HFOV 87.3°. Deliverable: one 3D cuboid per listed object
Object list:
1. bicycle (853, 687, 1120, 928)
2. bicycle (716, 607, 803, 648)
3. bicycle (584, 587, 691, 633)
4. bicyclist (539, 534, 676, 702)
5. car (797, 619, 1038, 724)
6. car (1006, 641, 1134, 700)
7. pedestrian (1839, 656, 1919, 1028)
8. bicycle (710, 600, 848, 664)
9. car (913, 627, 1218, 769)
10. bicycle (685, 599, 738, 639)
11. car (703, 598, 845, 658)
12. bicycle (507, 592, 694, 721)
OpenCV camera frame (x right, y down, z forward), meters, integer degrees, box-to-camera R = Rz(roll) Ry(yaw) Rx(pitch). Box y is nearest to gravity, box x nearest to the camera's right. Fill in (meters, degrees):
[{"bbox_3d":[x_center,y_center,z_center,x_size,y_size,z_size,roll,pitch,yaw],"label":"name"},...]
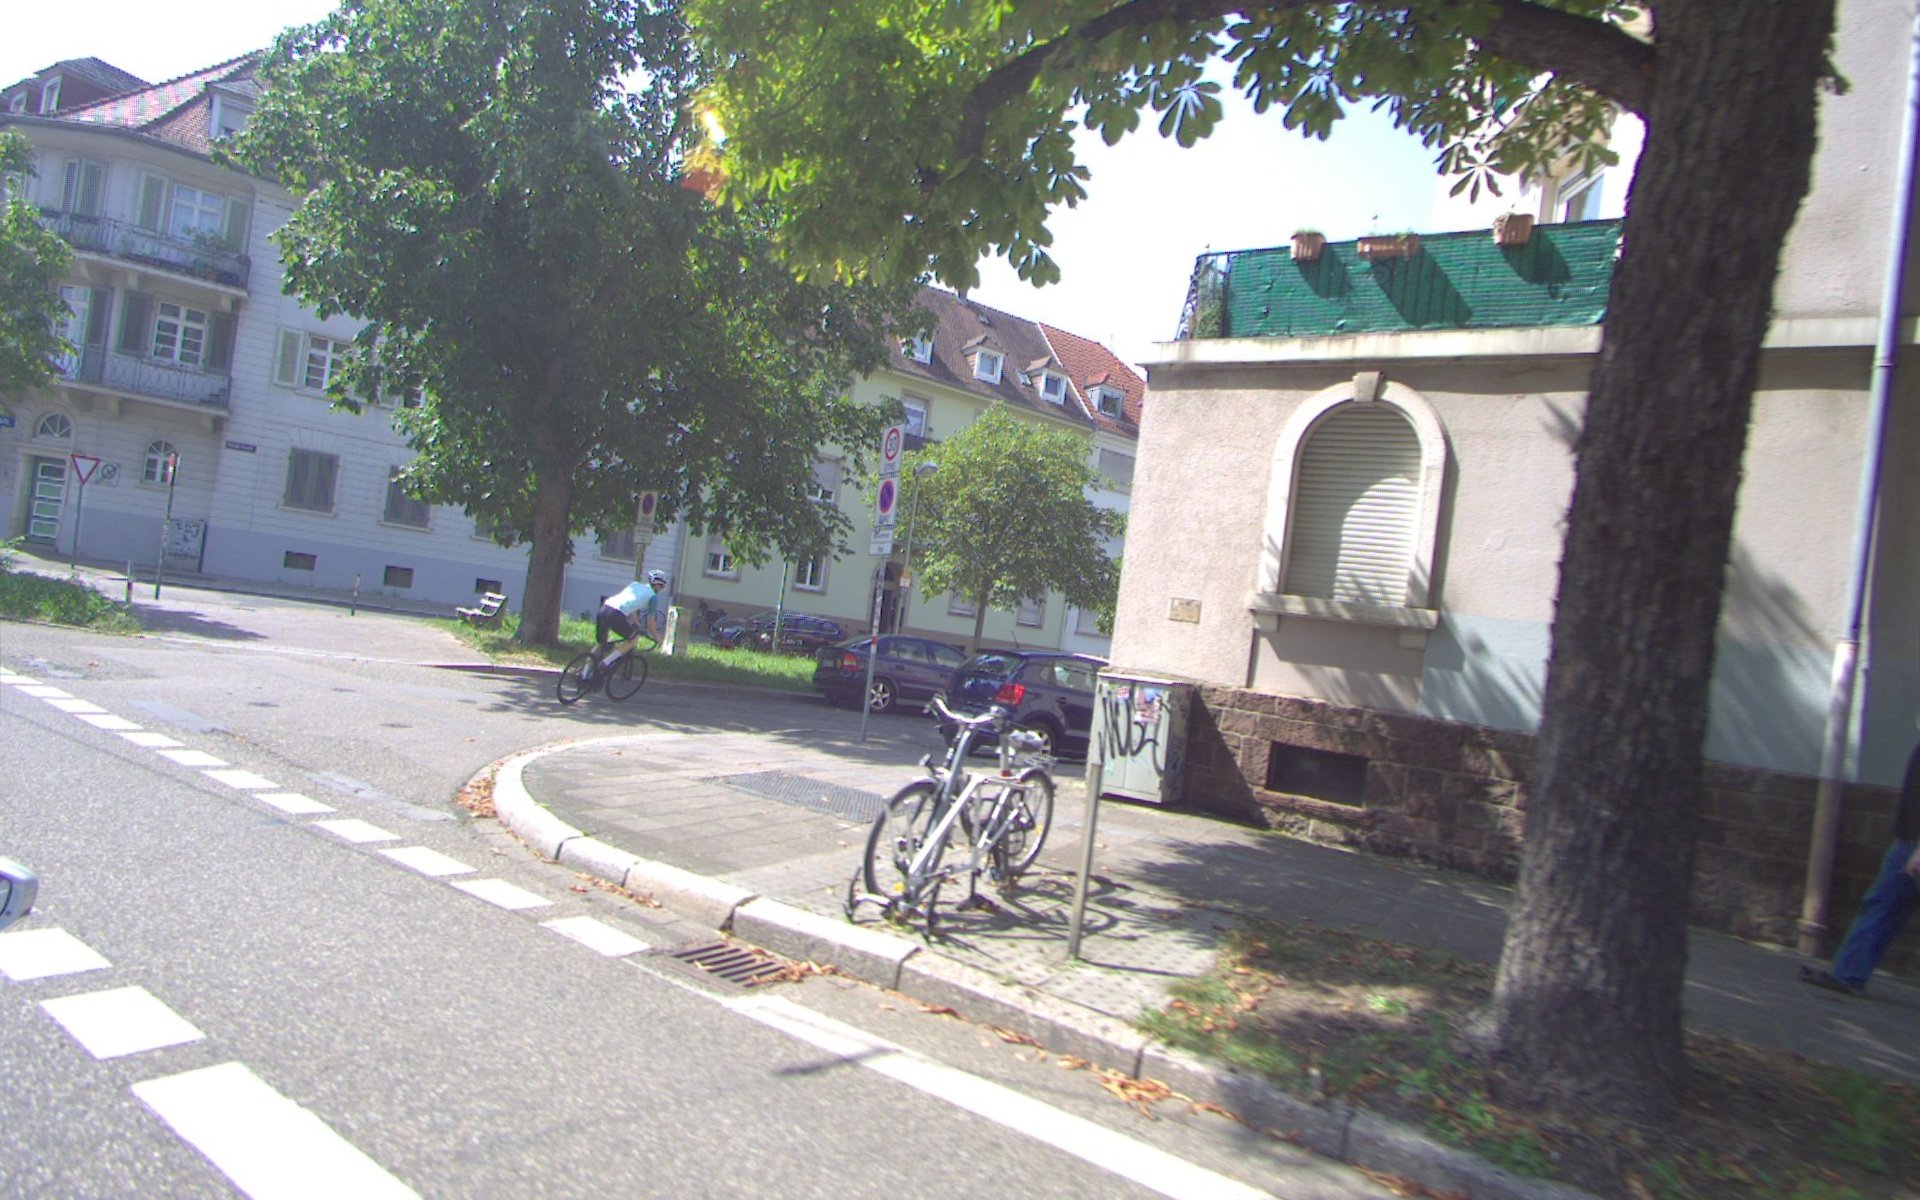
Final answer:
[{"bbox_3d":[0.224,1.064,5.551,0.557,1.044,1.716,7,-1,33],"label":"bicycle"},{"bbox_3d":[-7.239,1.001,36.313,2.756,1.040,1.153,11,-3,-35],"label":"bicycle"},{"bbox_3d":[-10.884,0.360,34.004,3.185,1.040,1.154,10,-3,-33],"label":"bicycle"},{"bbox_3d":[-4.334,0.233,12.450,1.108,1.858,0.956,7,-1,2],"label":"bicyclist"},{"bbox_3d":[-0.742,1.306,18.210,3.910,1.363,1.749,9,-3,-30],"label":"car"},{"bbox_3d":[3.694,2.358,33.499,3.935,1.454,1.626,9,-3,-30],"label":"car"},{"bbox_3d":[5.395,1.319,5.437,0.702,1.914,0.707,7,-1,33],"label":"pedestrian"},{"bbox_3d":[-4.619,0.846,25.849,3.185,1.125,1.153,10,-2,-33],"label":"bicycle"},{"bbox_3d":[1.419,1.295,13.038,3.579,1.363,1.746,9,-3,-35],"label":"car"},{"bbox_3d":[-8.625,0.657,34.847,1.004,1.130,2.254,10,-3,-32],"label":"bicycle"},{"bbox_3d":[-6.153,0.927,33.435,4.239,1.398,1.670,9,-3,-30],"label":"car"},{"bbox_3d":[-4.378,0.670,12.597,1.130,1.284,2.713,8,-1,2],"label":"bicycle"}]
